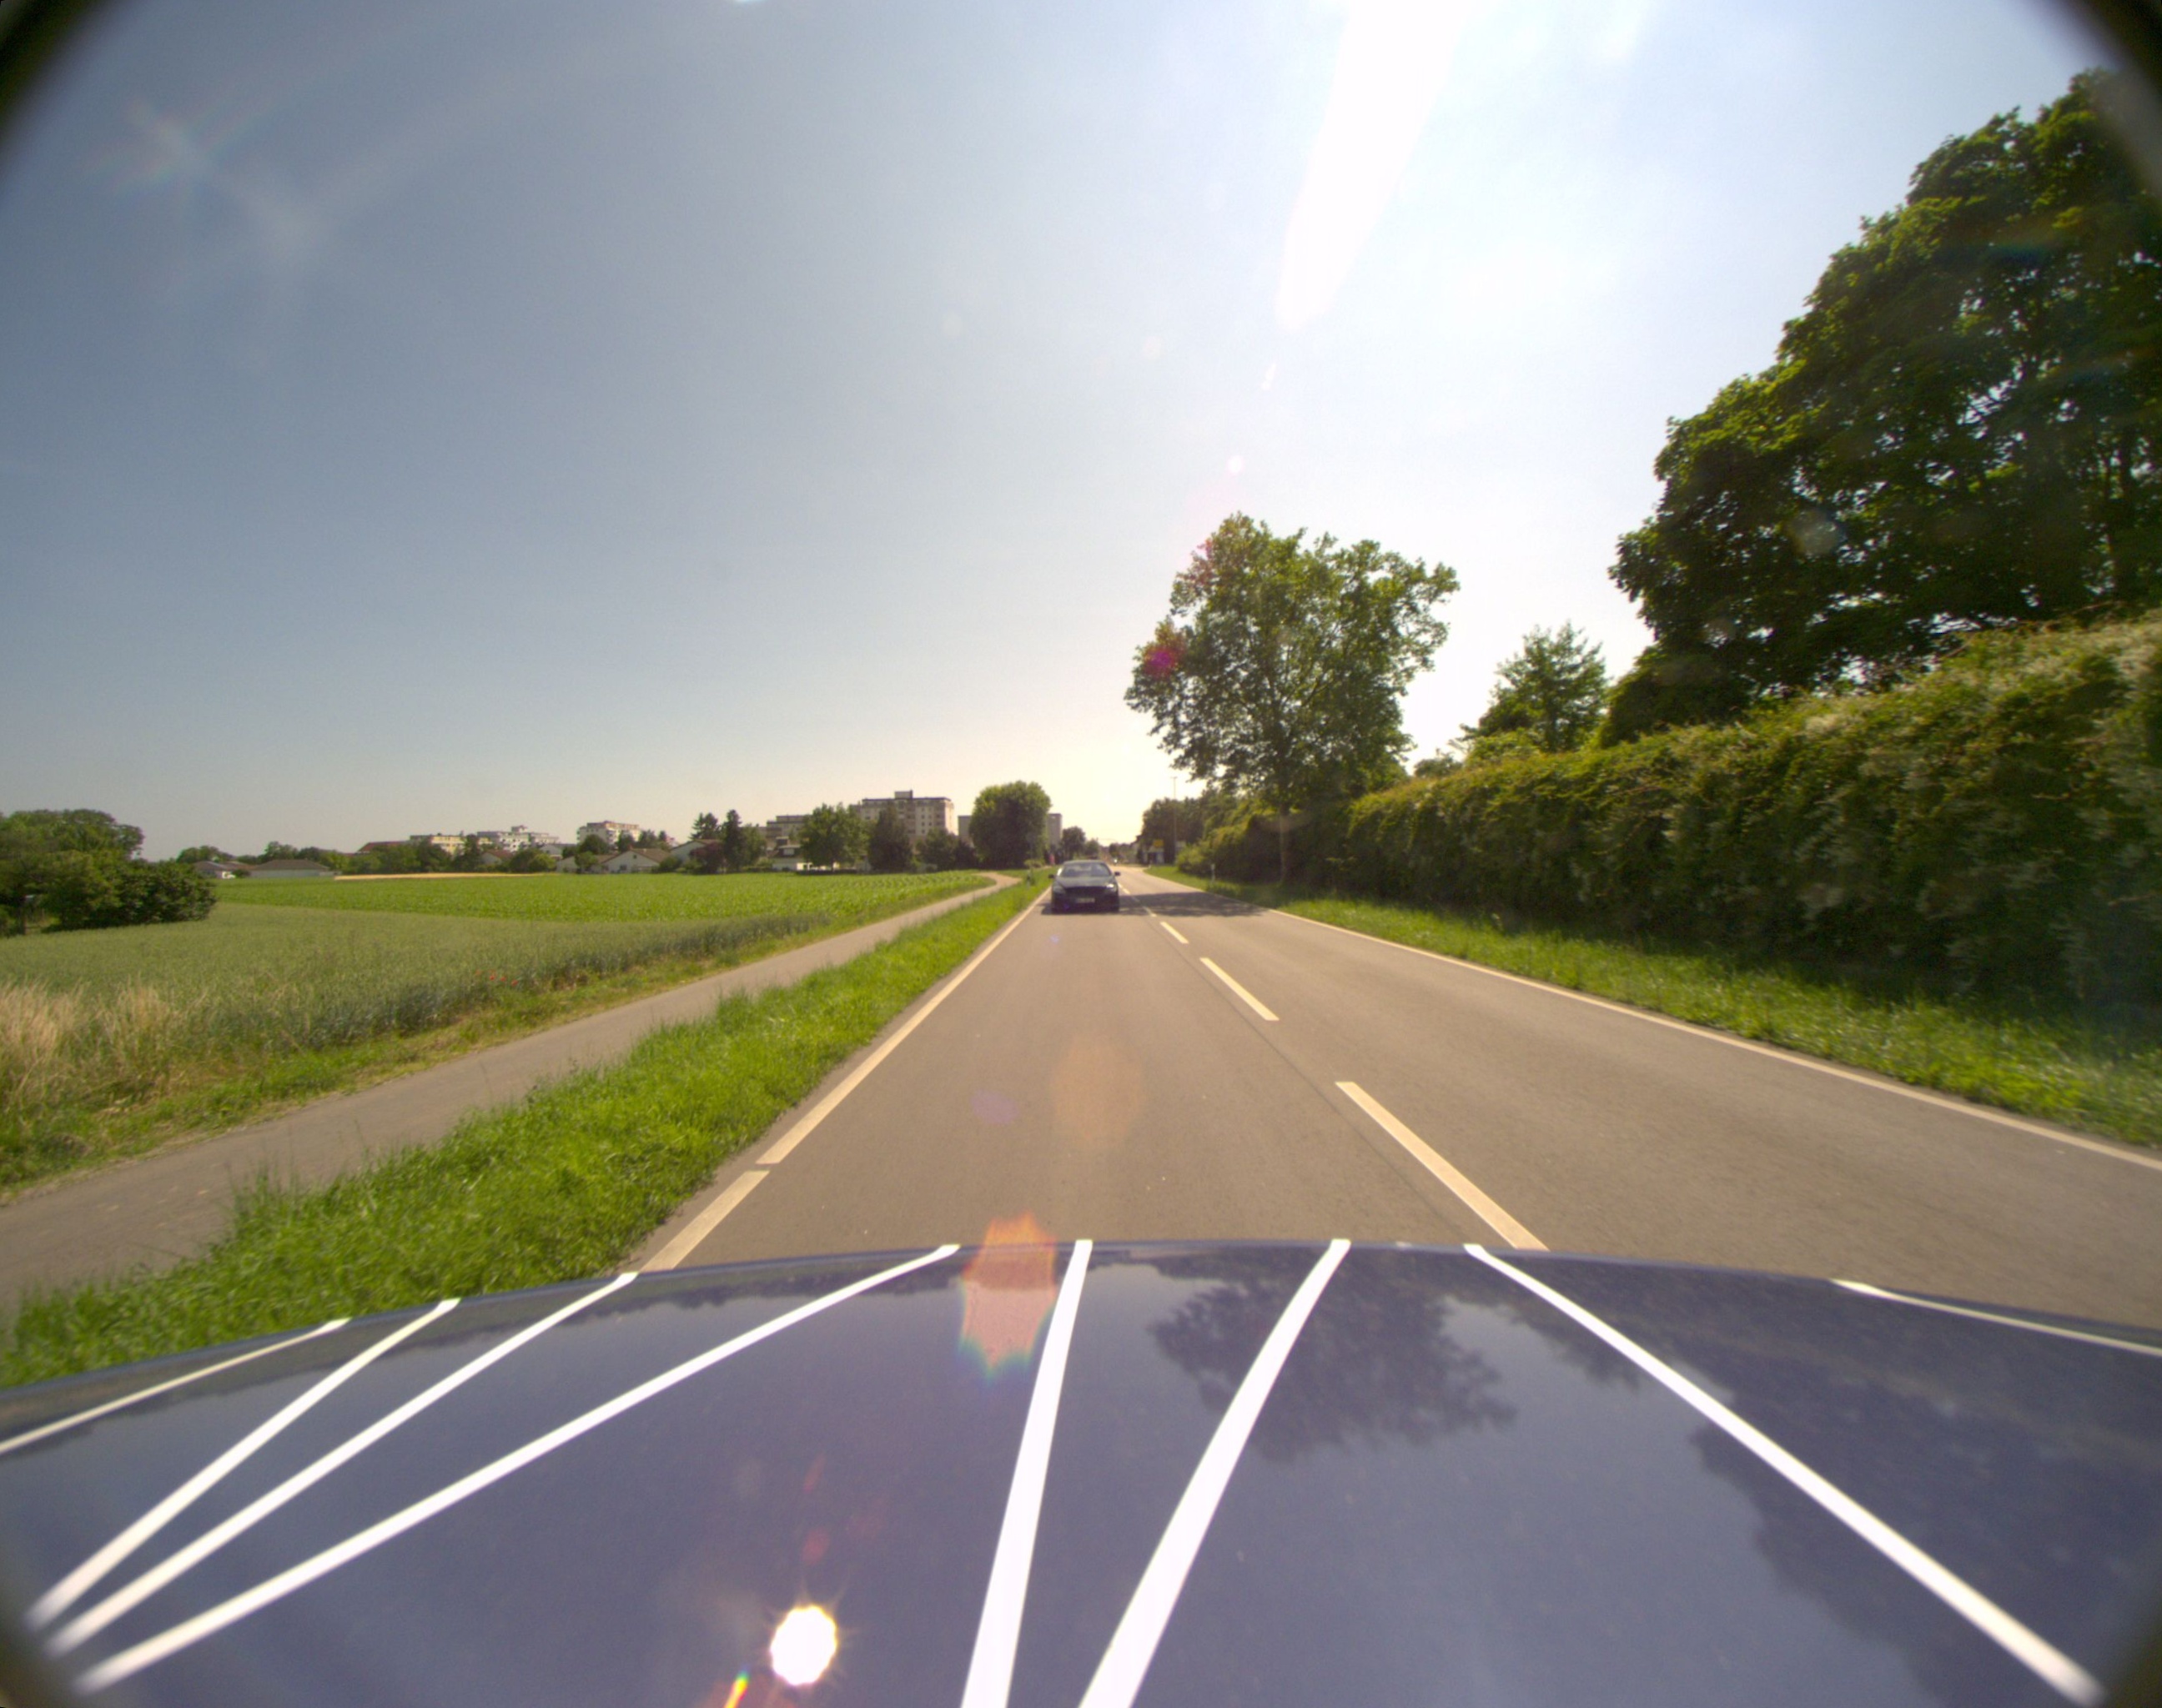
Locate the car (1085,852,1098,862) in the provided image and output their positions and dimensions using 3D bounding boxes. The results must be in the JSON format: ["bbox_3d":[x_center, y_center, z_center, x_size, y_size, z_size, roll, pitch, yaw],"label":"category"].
[{"bbox_3d":[2.163,0.611,159.428,2.151,1.940,5.244,0,0,-5],"label":"car"}]

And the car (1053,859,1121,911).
[{"bbox_3d":[0.122,0.912,24.352,1.889,1.429,4.838,-2,0,-1],"label":"car"}]
